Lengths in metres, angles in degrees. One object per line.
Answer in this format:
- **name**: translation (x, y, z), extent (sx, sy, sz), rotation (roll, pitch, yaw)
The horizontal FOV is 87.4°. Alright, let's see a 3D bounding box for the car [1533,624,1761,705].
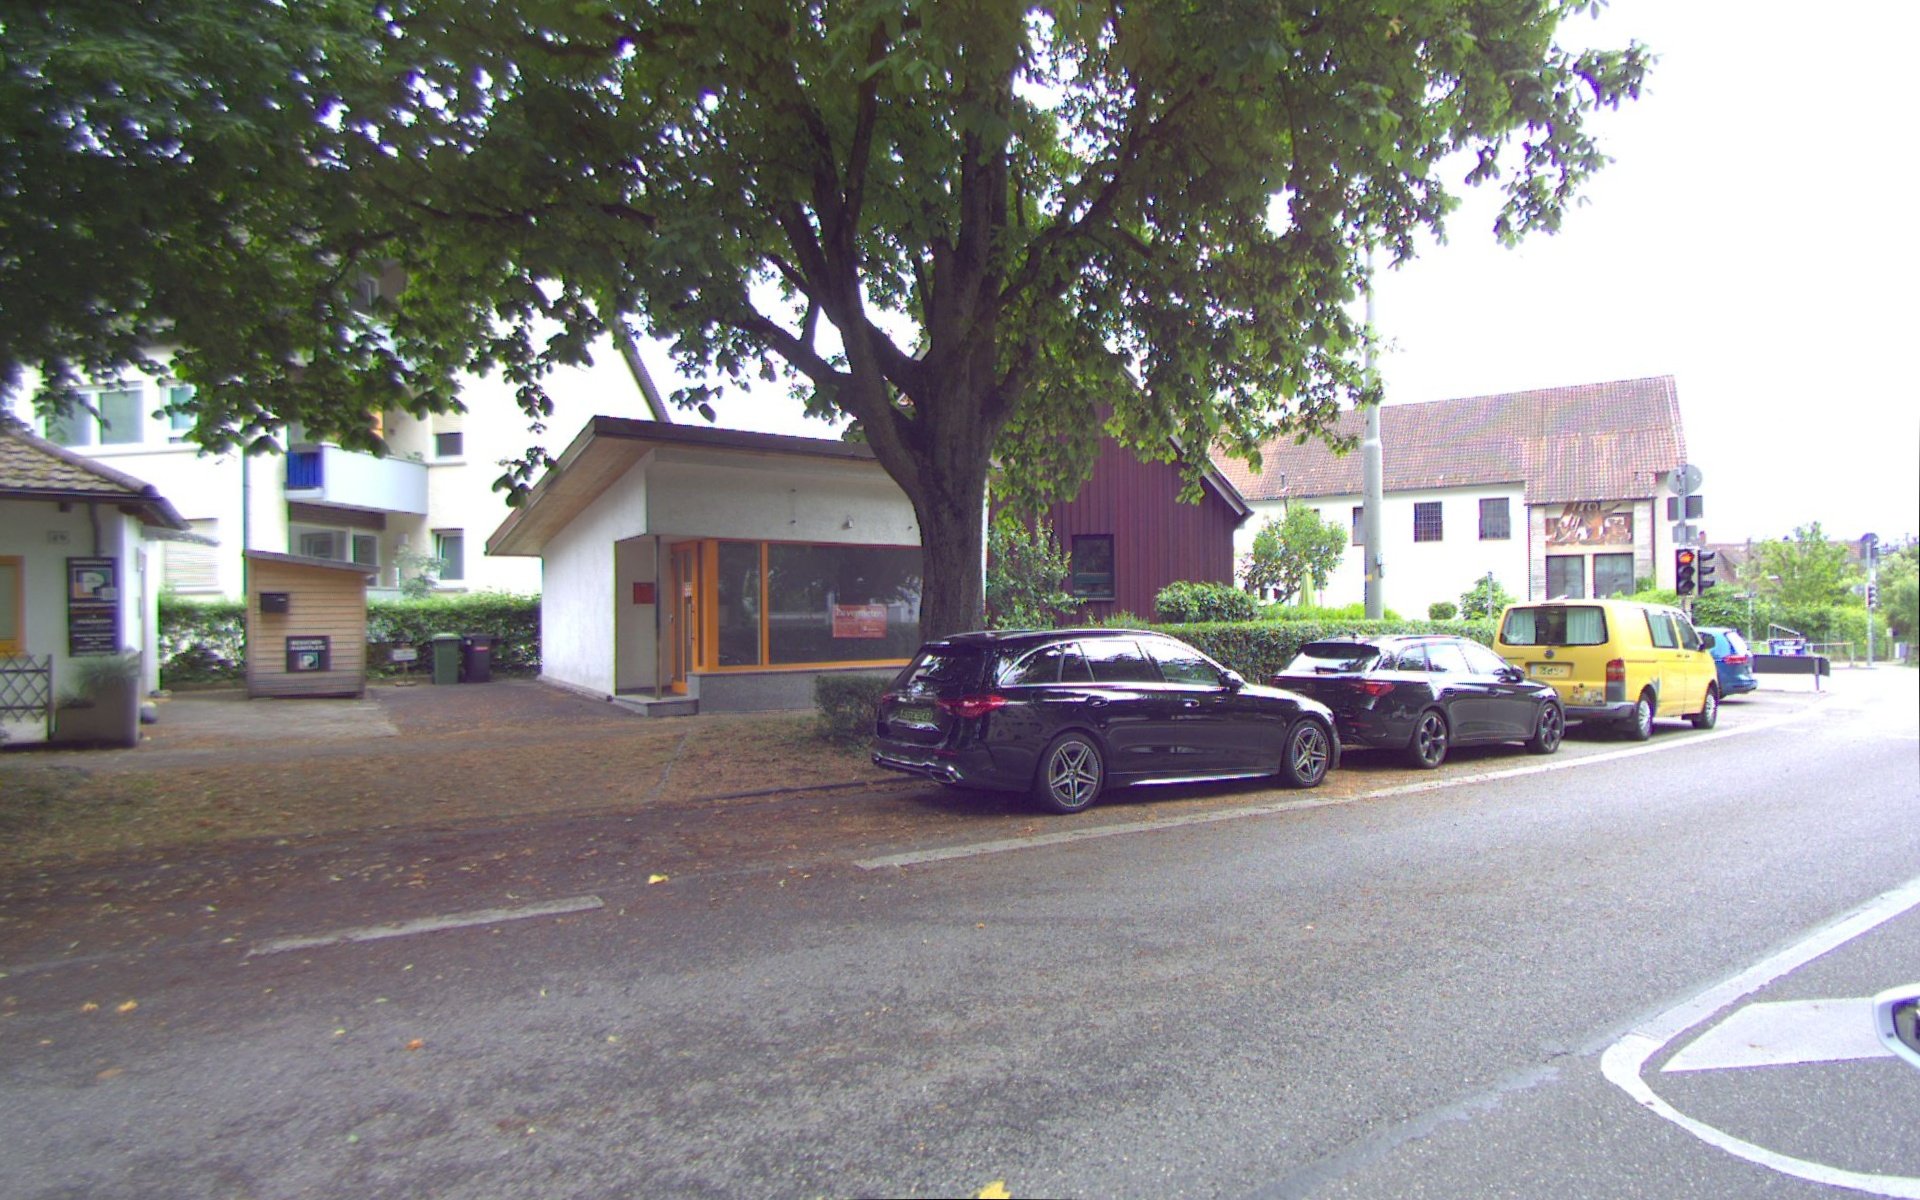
- **car**: translation (15.248, 1.402, 22.426), extent (3.946, 1.632, 1.807), rotation (-3, -3, 44)

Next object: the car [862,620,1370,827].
- **car**: translation (1.555, 0.980, 9.443), extent (4.564, 1.520, 1.983), rotation (1, -2, -32)

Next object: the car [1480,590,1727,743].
- **car**: translation (10.073, 0.967, 15.605), extent (4.526, 2.040, 1.869), rotation (2, -2, -39)

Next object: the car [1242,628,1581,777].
- **car**: translation (5.550, 1.107, 12.133), extent (4.497, 1.505, 1.680), rotation (1, -2, -35)
